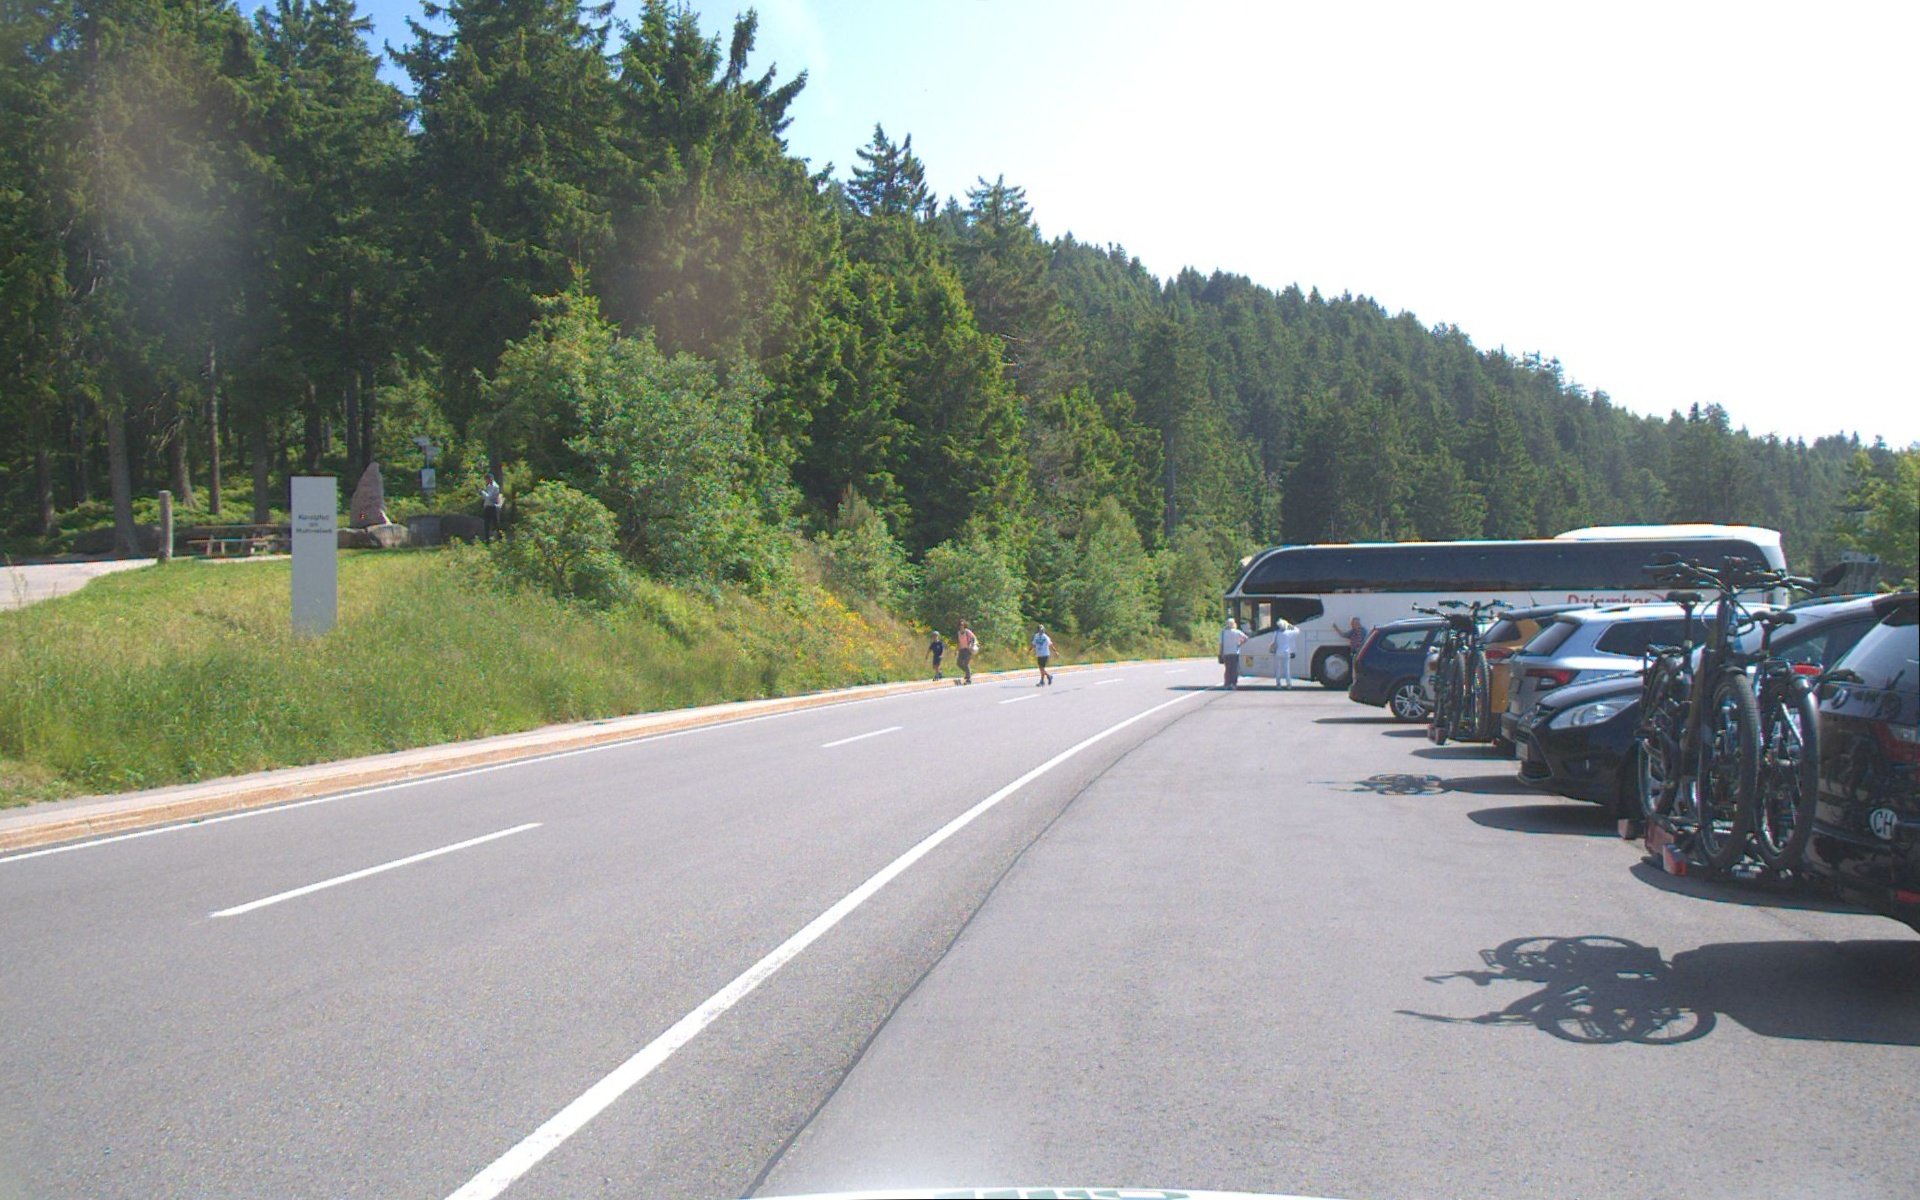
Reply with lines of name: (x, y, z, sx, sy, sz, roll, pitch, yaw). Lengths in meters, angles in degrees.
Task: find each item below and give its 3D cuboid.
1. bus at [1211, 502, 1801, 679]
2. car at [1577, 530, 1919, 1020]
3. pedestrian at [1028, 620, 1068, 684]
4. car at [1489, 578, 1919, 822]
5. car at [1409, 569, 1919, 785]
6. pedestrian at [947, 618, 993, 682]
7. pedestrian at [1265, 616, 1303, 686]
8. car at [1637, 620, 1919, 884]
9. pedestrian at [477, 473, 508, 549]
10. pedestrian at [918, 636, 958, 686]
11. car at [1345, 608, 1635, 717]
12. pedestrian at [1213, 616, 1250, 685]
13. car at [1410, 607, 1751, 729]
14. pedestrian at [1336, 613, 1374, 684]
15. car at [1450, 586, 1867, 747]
bus: (12.722, -0.108, 39.619, 12.821, 3.594, 3.044, -2, -1, 20)
car: (5.151, 0.577, 6.468, 4.843, 1.725, 1.947, -2, -1, 11)
pedestrian: (2.280, 1.329, 42.790, 0.838, 1.613, 0.816, -2, -1, -9)
car: (6.133, 0.662, 11.919, 4.153, 1.581, 1.839, -2, -1, 9)
car: (6.646, 0.646, 14.641, 4.926, 1.680, 2.049, -2, -1, 9)
pedestrian: (0.273, 1.368, 45.240, 0.853, 1.713, 0.852, -3, -1, 39)
pedestrian: (7.663, 1.189, 39.076, 0.754, 1.613, 0.773, -2, -1, 16)
car: (6.152, 0.746, 9.087, 4.153, 1.291, 1.839, -2, -1, 9)
pedestrian: (-11.934, -2.268, 42.224, 0.671, 1.910, 0.538, -2, -1, -21)
pedestrian: (-0.587, 1.635, 44.471, 0.767, 1.302, 0.733, -2, -1, 35)
car: (7.912, 0.923, 25.021, 3.902, 1.474, 1.862, -2, -1, 9)
pedestrian: (6.489, 1.196, 39.521, 0.754, 1.613, 0.773, -2, -1, 16)
car: (8.023, 0.876, 21.703, 3.902, 1.423, 1.621, -2, -1, 9)
pedestrian: (9.285, 1.135, 38.858, 0.753, 1.613, 0.773, -2, -1, 17)
car: (7.551, 0.717, 18.221, 3.902, 1.581, 1.661, -2, -1, 9)
